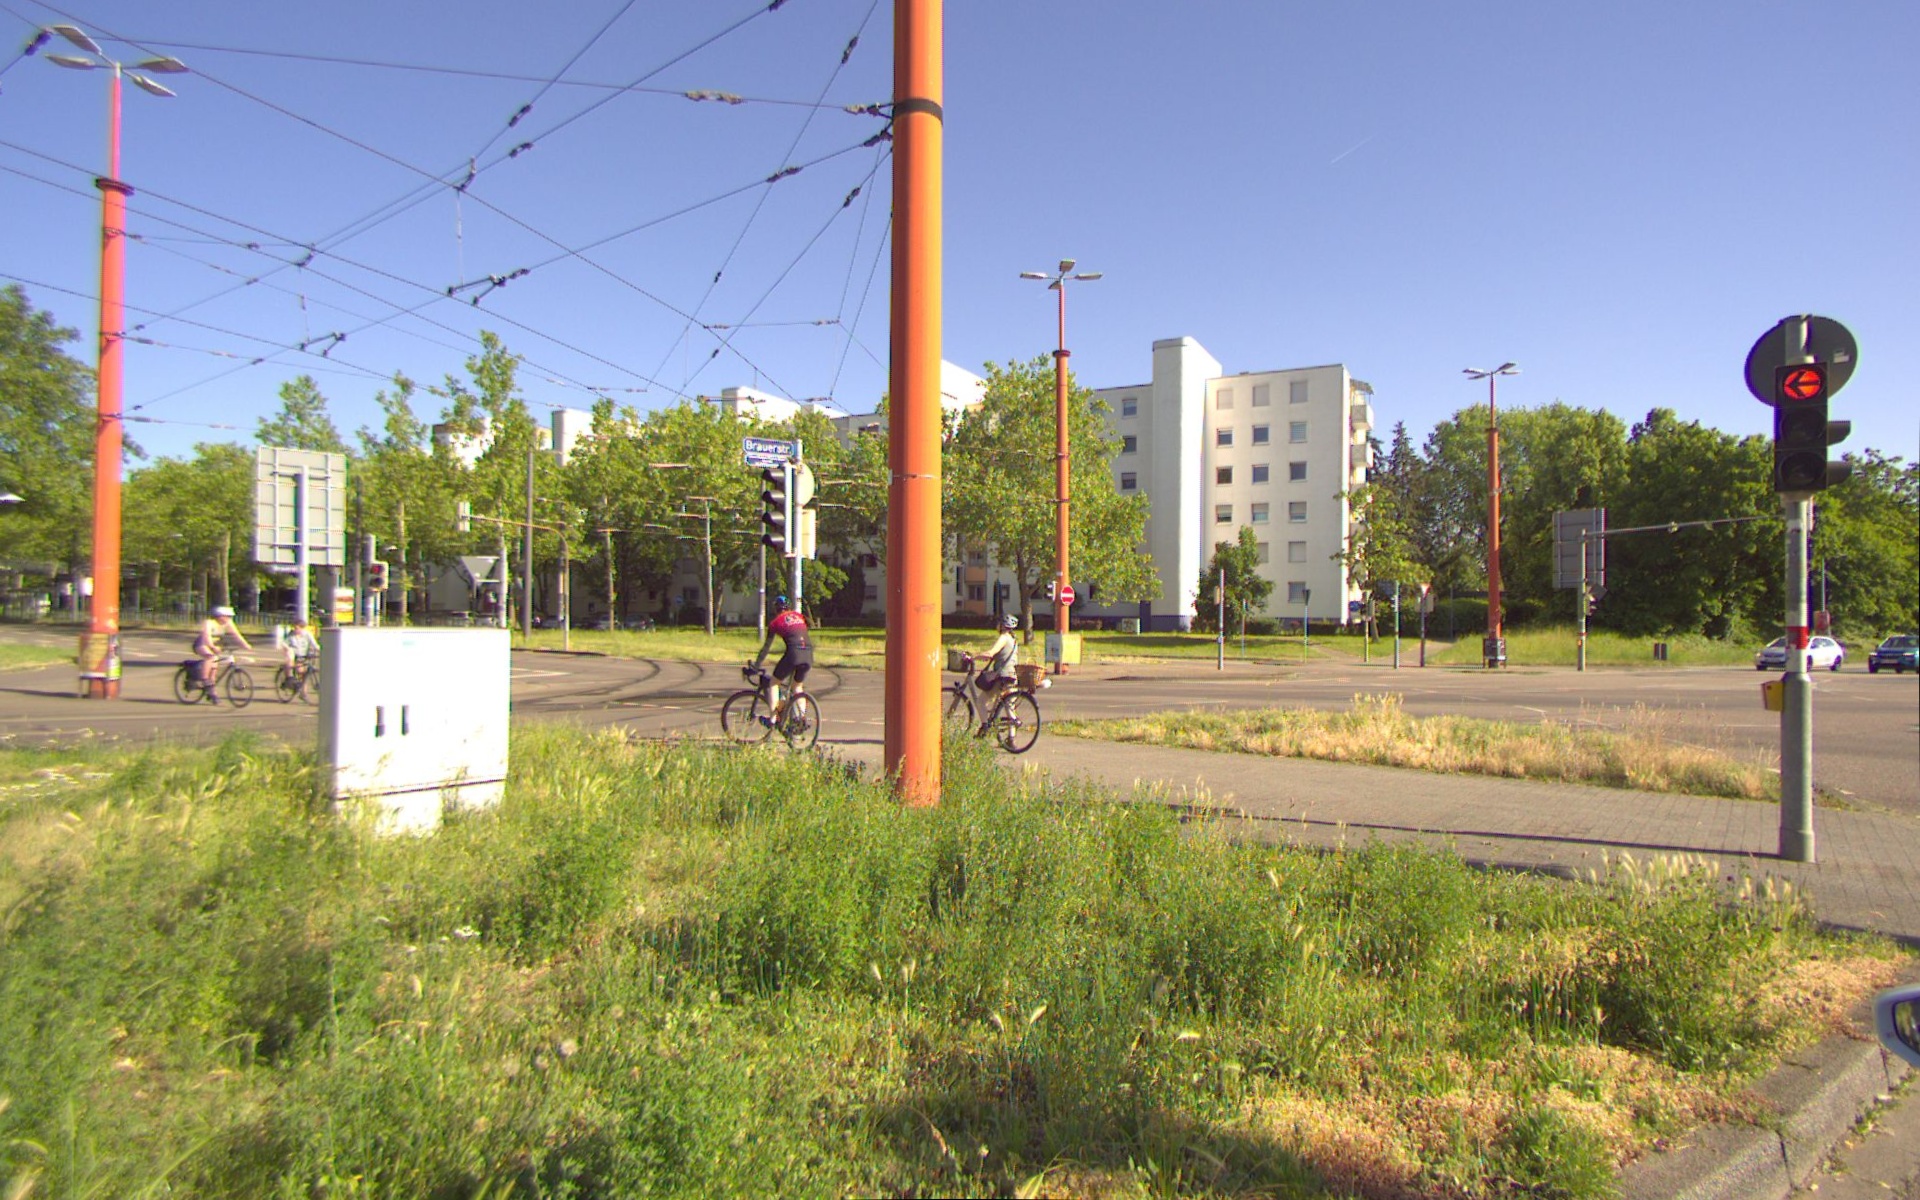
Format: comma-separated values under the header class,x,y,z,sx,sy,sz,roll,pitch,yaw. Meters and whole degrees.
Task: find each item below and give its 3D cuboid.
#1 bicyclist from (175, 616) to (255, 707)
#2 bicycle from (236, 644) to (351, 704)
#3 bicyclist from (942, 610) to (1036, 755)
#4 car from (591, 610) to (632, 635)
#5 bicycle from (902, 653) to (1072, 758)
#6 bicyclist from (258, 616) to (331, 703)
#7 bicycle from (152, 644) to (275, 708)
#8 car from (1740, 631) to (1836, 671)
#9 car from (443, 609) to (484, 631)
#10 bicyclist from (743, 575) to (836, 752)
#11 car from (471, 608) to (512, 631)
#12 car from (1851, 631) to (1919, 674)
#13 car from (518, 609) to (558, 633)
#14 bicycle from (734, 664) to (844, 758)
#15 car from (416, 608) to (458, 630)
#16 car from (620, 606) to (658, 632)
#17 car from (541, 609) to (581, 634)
class,x,y,z,sx,sy,sz,roll,pitch,yaw
bicyclist,-14.003,1.132,18.899,0.726,1.659,0.934,0,-1,18
bicycle,-13.252,1.441,19.982,1.849,1.102,0.928,0,-1,18
bicyclist,0.358,0.956,12.099,0.728,1.659,0.931,0,-1,35
car,-26.113,1.683,75.330,1.962,1.840,3.997,1,-1,-5
bicycle,0.314,1.226,12.123,1.855,1.102,0.925,0,-1,34
bicyclist,-13.213,1.161,19.970,0.726,1.659,0.934,0,-1,18
bicycle,-14.030,1.411,18.897,1.849,1.102,0.928,0,-1,18
car,35.142,2.149,42.610,4.075,1.594,1.983,1,-1,-32
car,-42.677,1.696,86.448,1.963,1.840,3.995,1,-1,-8
bicyclist,-2.067,0.747,12.141,0.921,2.040,0.736,1,-1,-25
car,-39.288,1.638,84.327,1.963,1.840,3.995,1,-1,-8
car,37.266,2.037,39.869,4.079,1.594,1.981,2,-1,-35
car,-33.812,1.668,80.529,1.963,1.840,3.995,1,-1,-8
bicycle,-2.116,1.307,12.238,0.915,0.976,1.747,1,-1,-24
car,-46.027,1.672,88.477,1.963,1.840,3.995,1,-1,-8
car,-23.407,1.396,73.418,1.963,1.840,3.995,1,-1,-8
car,-31.196,1.673,78.679,1.963,1.840,3.995,1,-1,-8
